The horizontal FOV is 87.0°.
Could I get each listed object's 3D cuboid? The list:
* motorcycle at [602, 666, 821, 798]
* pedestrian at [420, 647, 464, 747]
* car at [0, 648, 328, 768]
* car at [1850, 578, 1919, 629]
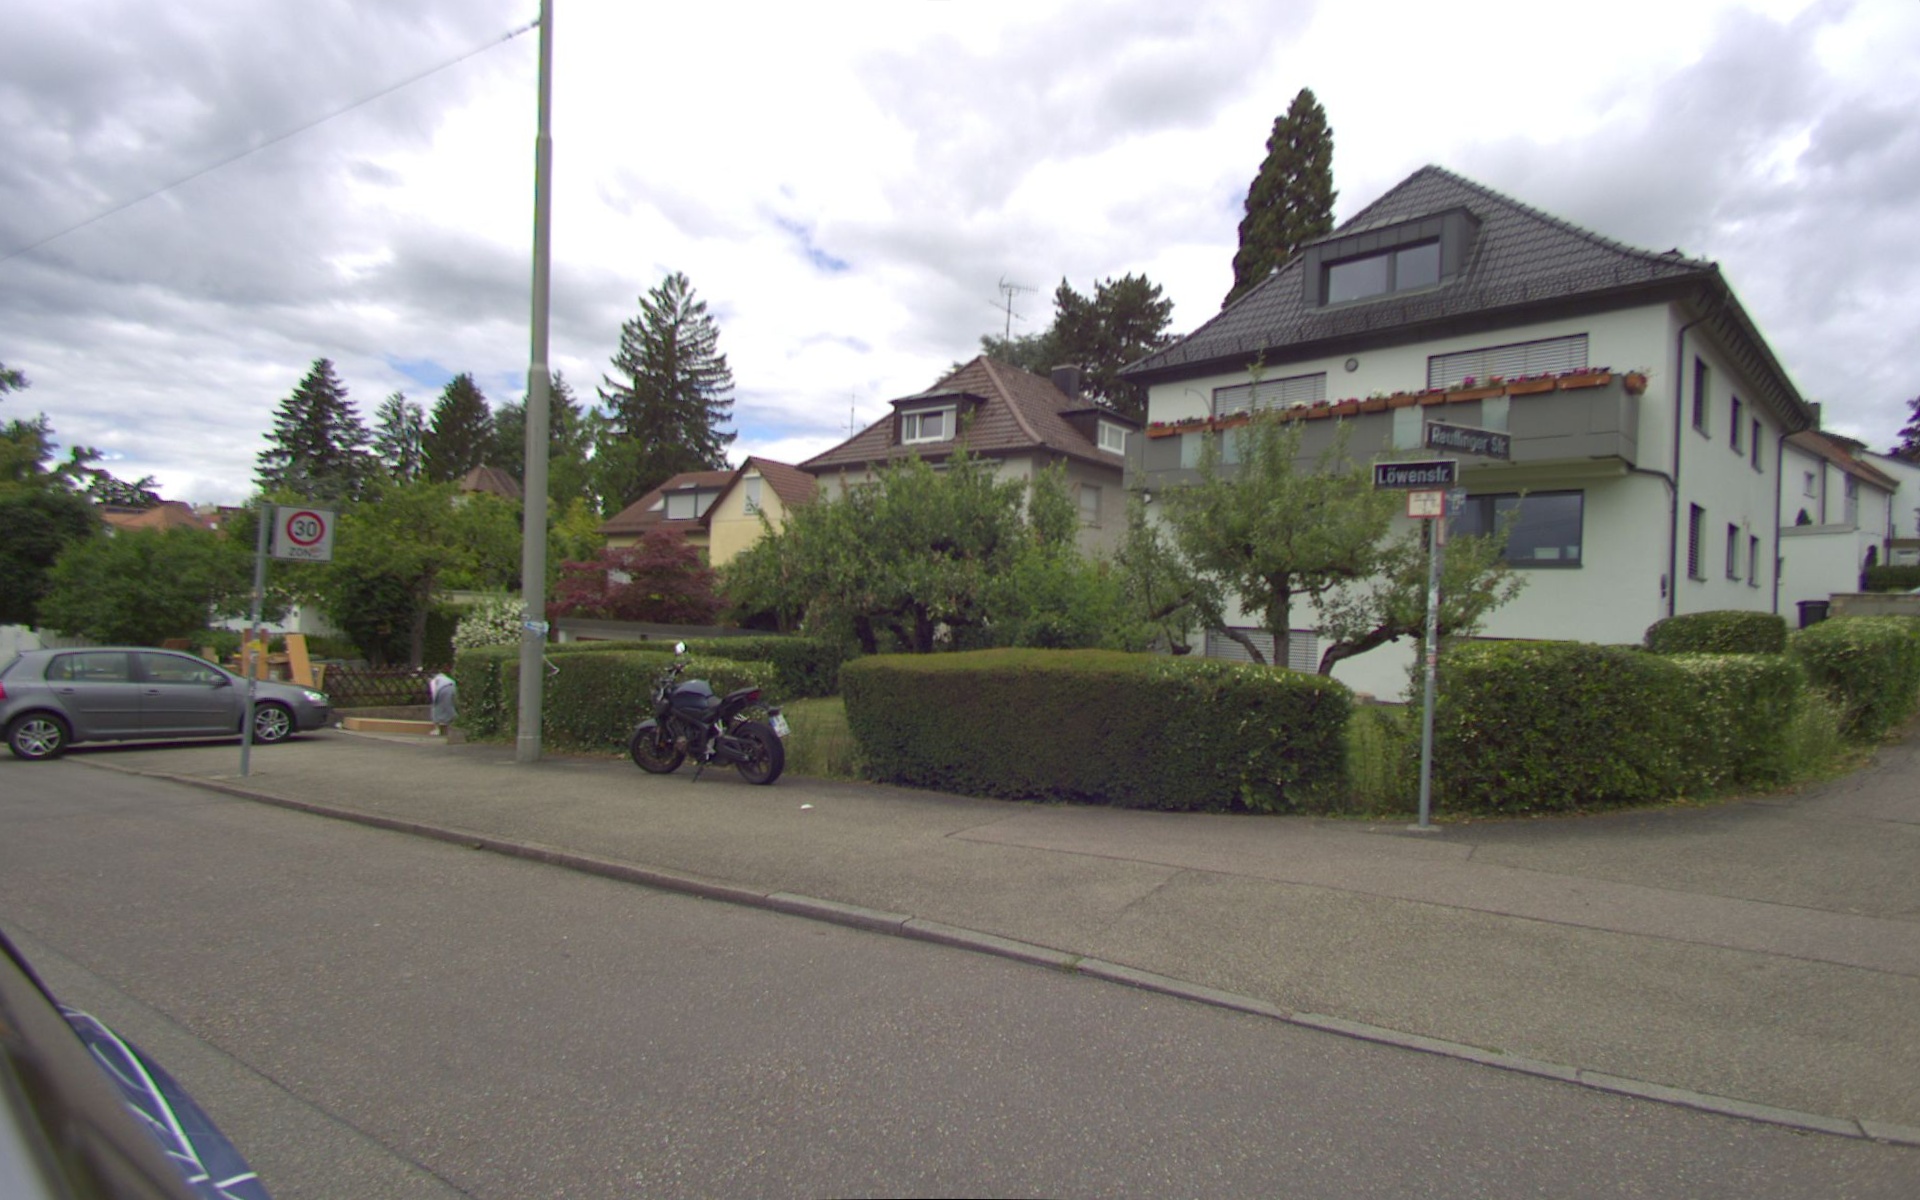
[{"bbox_3d":[-2.466,1.245,9.975,2.137,1.148,0.767,-2,-3,29],"label":"motorcycle"},{"bbox_3d":[-9.773,1.813,19.103,0.635,1.818,0.614,1,-2,-35],"label":"pedestrian"},{"bbox_3d":[-11.623,1.485,14.780,3.934,1.473,1.741,1,-2,-37],"label":"car"},{"bbox_3d":[27.423,0.082,27.859,1.876,1.378,4.303,-2,2,-45],"label":"car"}]
